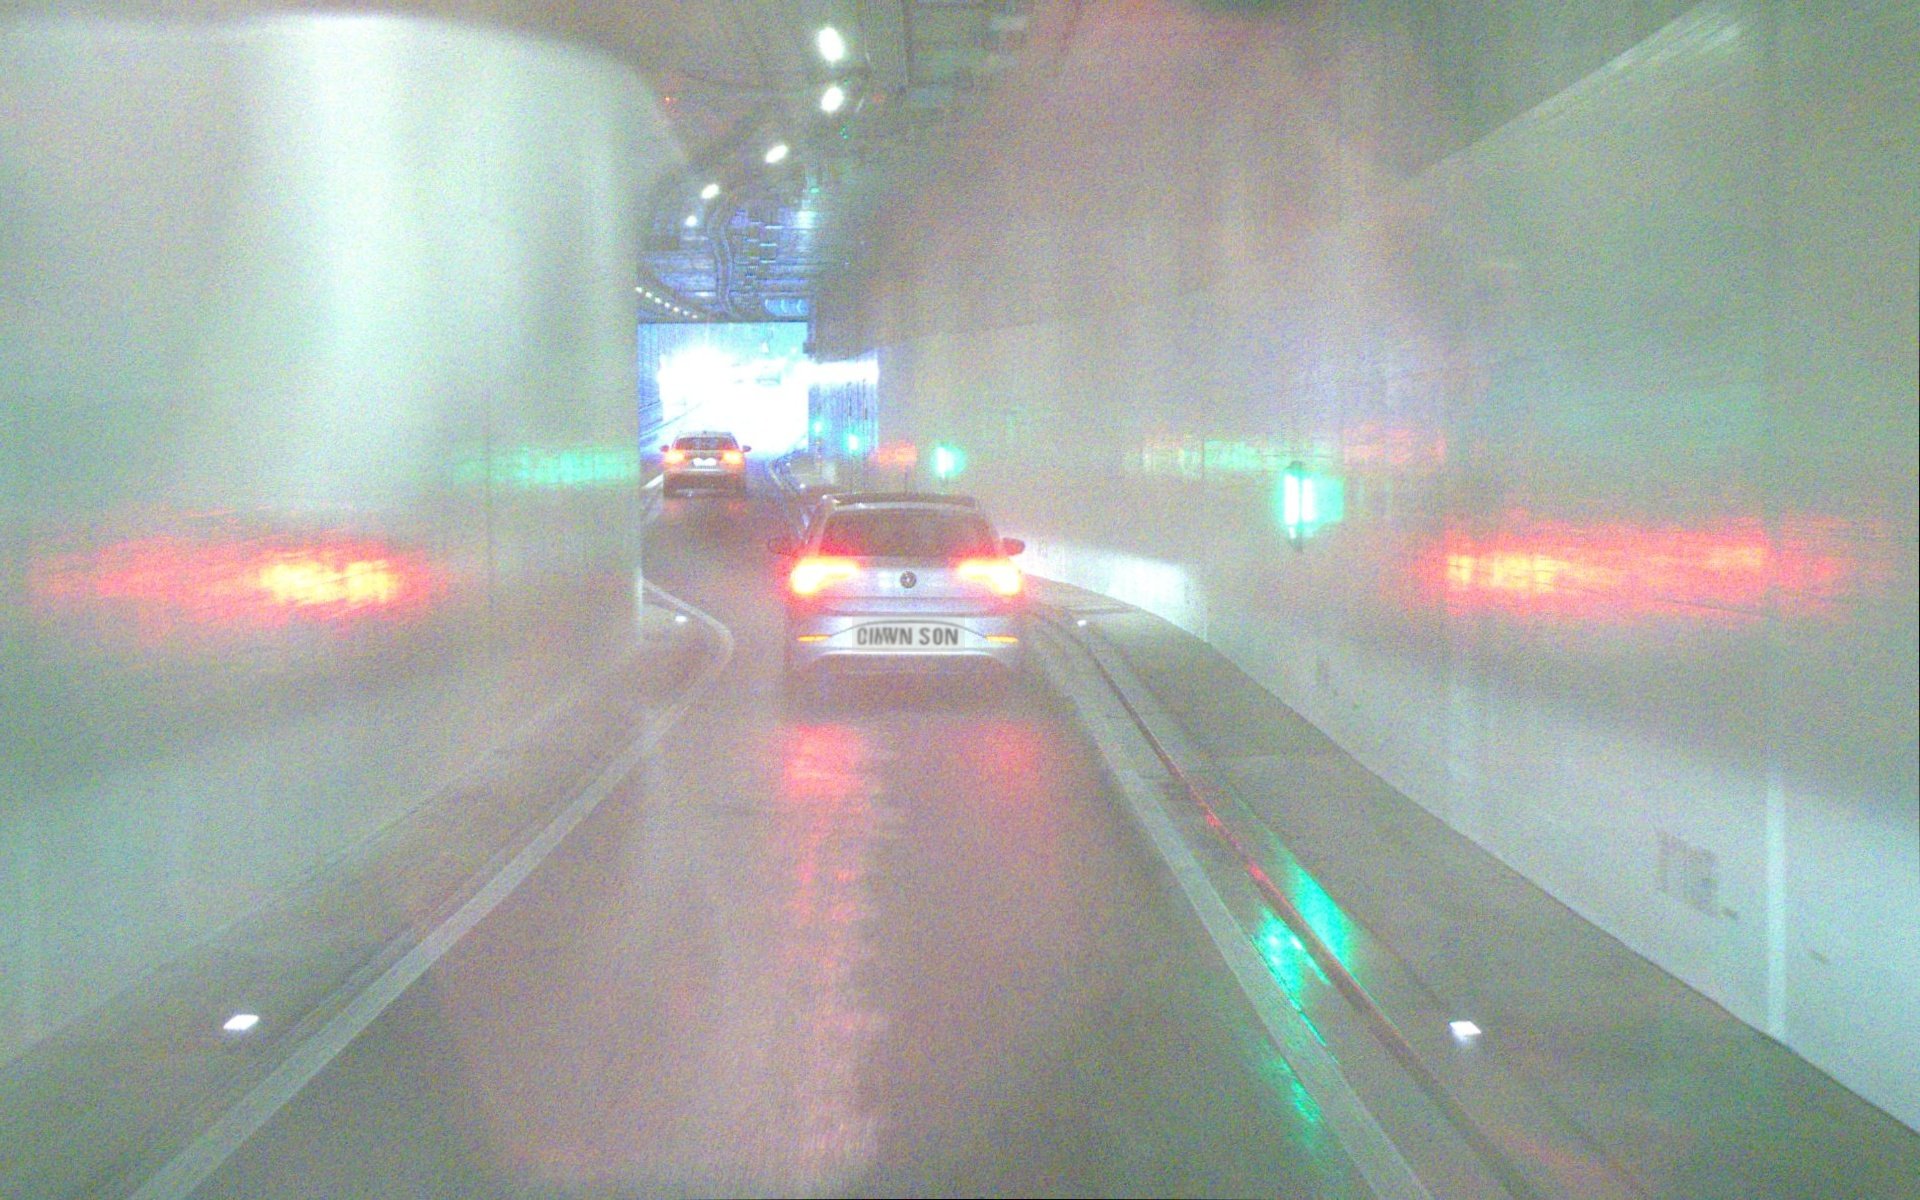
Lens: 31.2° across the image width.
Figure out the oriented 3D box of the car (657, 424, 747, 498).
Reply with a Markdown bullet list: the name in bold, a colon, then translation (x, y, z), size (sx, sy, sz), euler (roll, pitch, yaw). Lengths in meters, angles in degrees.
- **car**: translation (-5.835, -3.124, 77.501), size (1.880, 1.615, 4.001), euler (0, 2, -6)

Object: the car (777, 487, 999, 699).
- **car**: translation (-0.520, -0.104, 25.530), size (1.532, 1.392, 3.434), euler (0, 3, -1)
